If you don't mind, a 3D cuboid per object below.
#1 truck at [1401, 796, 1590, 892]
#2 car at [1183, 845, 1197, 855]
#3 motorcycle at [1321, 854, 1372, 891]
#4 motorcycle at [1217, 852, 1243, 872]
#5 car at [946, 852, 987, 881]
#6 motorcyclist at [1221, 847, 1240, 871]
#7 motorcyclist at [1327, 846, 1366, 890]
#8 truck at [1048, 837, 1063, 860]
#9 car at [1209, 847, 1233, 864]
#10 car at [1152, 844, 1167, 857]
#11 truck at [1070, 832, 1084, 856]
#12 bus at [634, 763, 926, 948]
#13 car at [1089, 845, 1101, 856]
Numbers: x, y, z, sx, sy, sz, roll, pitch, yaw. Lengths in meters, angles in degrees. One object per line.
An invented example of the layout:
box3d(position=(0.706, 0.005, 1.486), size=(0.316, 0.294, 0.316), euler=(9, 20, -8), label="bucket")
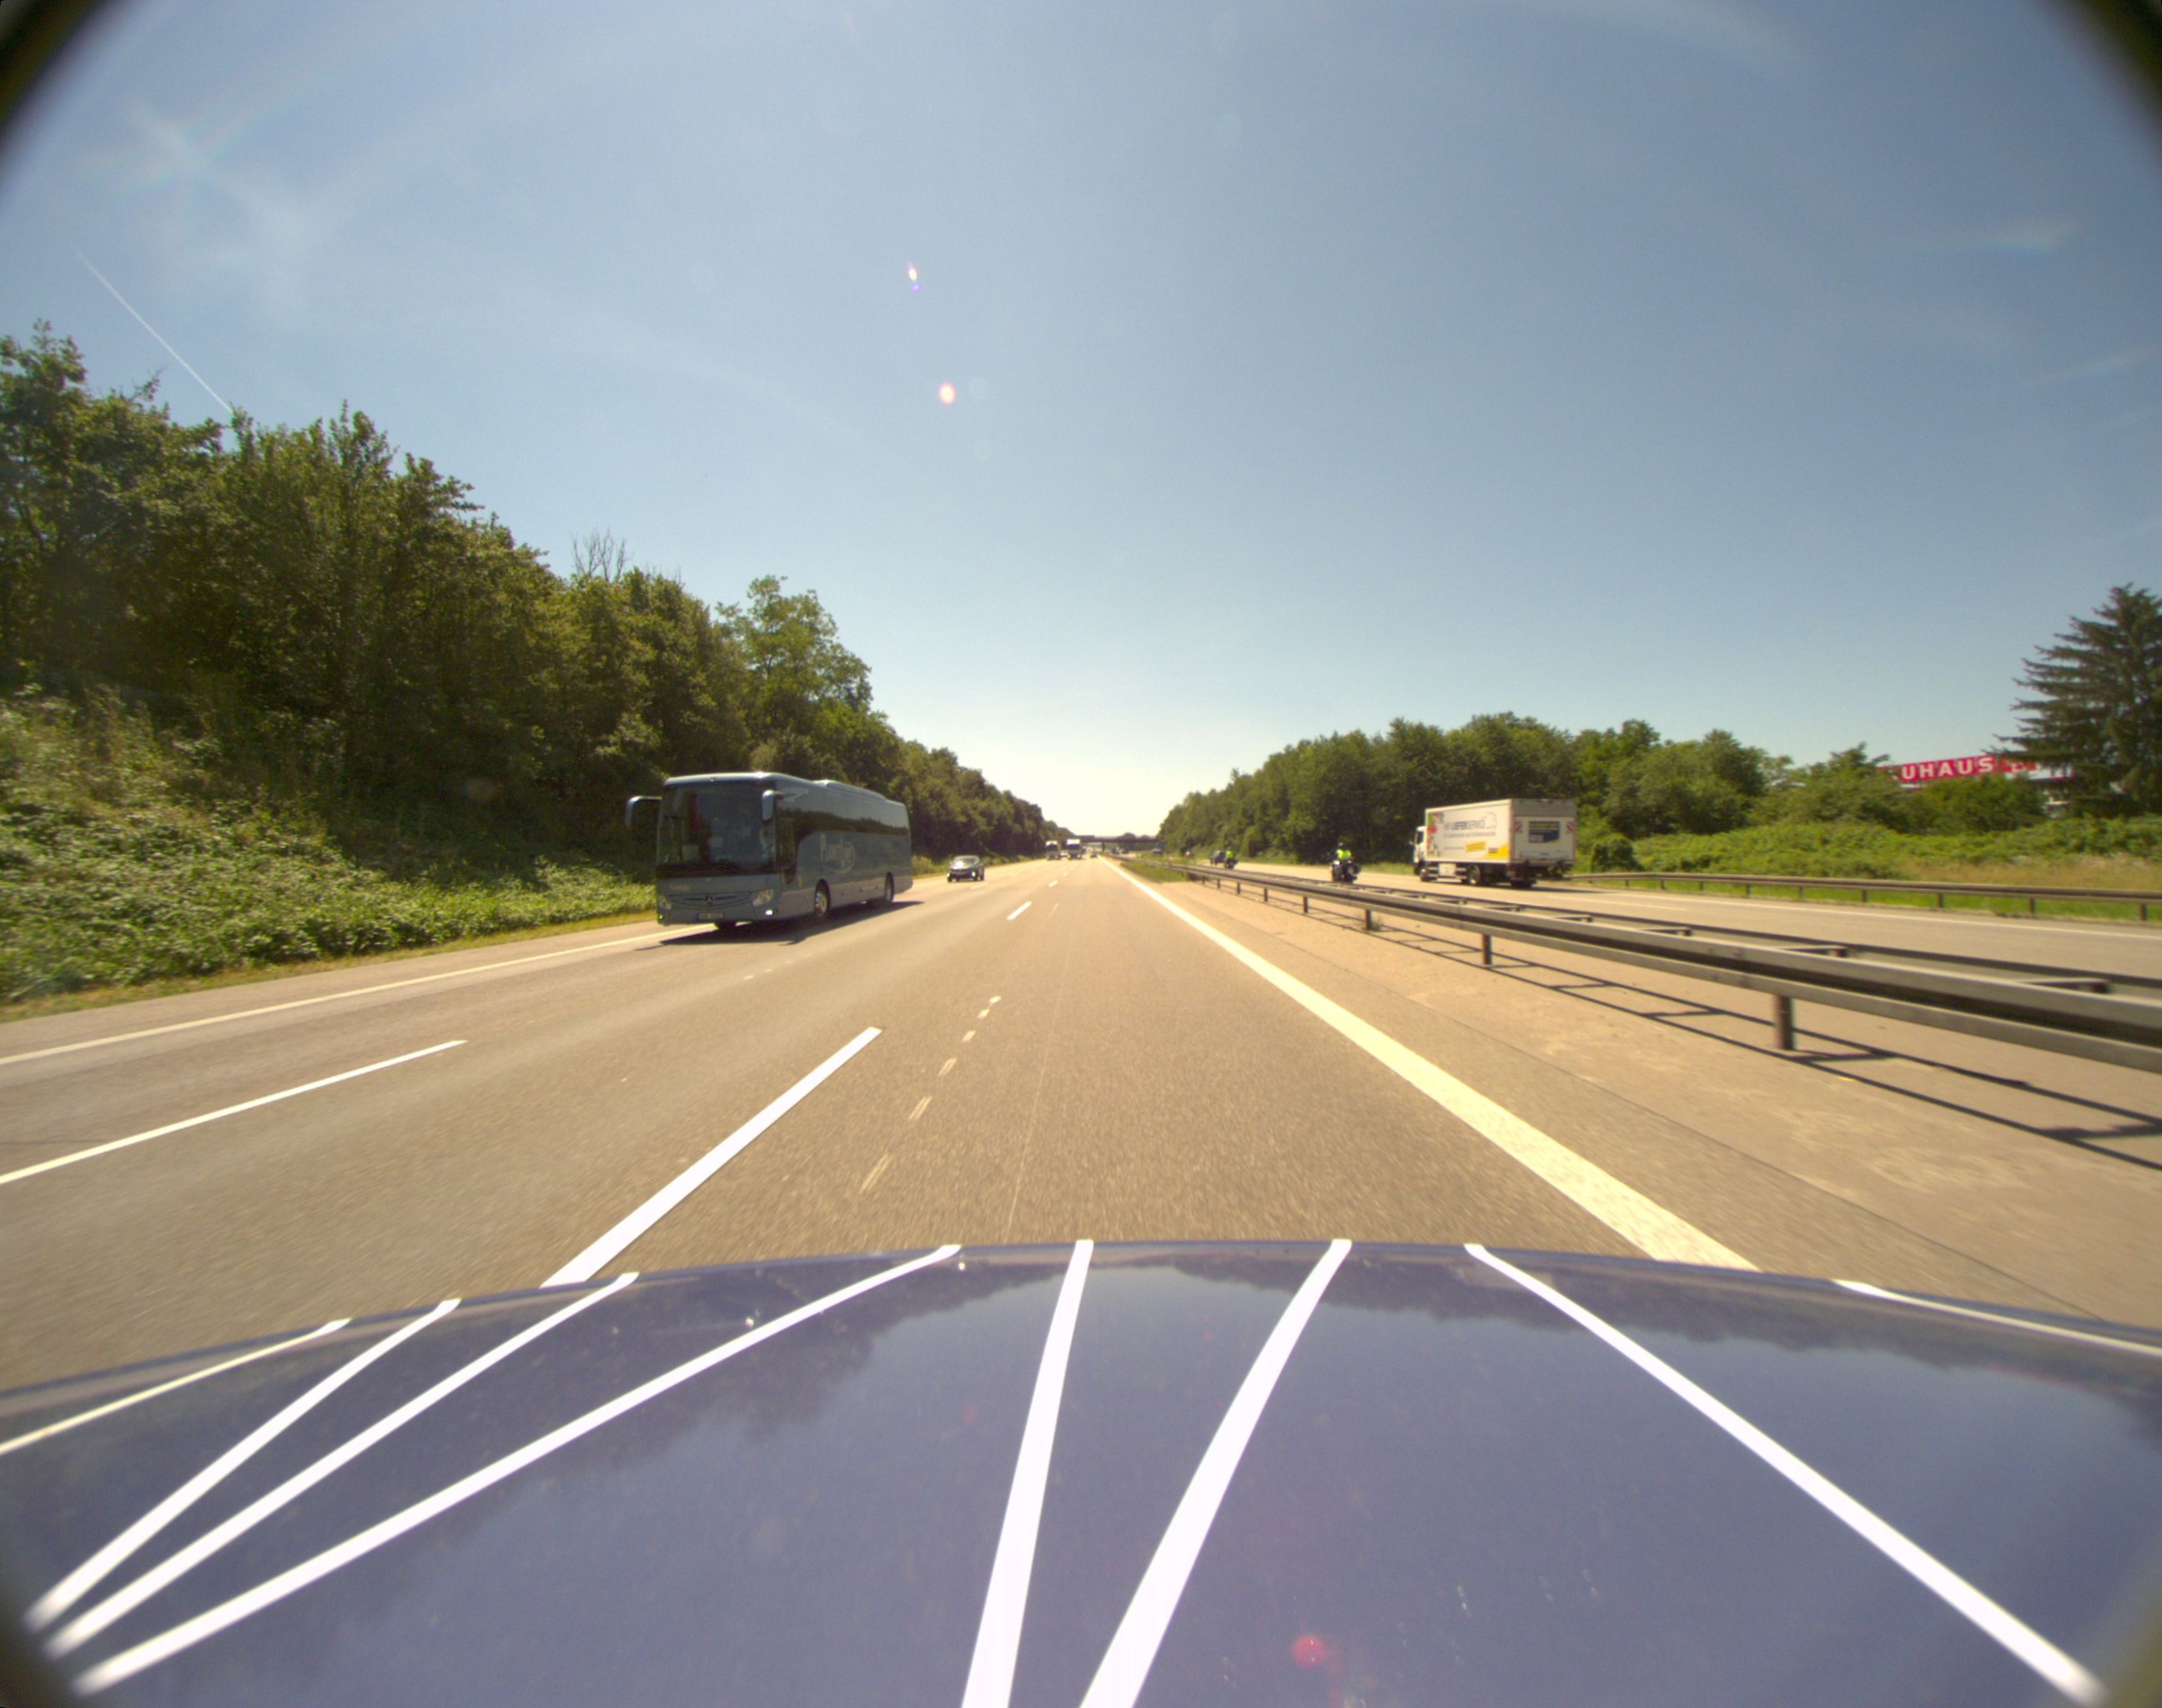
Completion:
box3d(position=(18.246, -0.468, 34.601), size=(3.002, 3.598, 10.269), euler=(-2, 1, 1), label="truck")
box3d(position=(18.821, -0.715, 131.729), size=(1.867, 1.651, 3.999), euler=(-2, 1, 1), label="car")
box3d(position=(9.985, 0.672, 28.715), size=(1.037, 1.260, 2.577), euler=(-2, 1, 1), label="motorcycle")
box3d(position=(10.258, 0.519, 52.332), size=(1.037, 1.231, 3.810), euler=(-2, 1, 1), label="motorcycle")
box3d(position=(-6.956, 0.716, 46.557), size=(1.814, 1.607, 3.999), euler=(-2, 1, 1), label="car")
box3d(position=(10.268, 0.326, 52.356), size=(1.043, 1.590, 1.151), euler=(-2, 1, 1), label="motorcyclist")
box3d(position=(9.986, 0.504, 28.599), size=(1.043, 1.590, 1.151), euler=(-2, 1, 1), label="motorcyclist")
box3d(position=(-5.429, -1.302, 163.007), size=(2.616, 4.638, 10.960), euler=(-2, 1, 1), label="truck")
box3d(position=(15.132, 0.133, 82.165), size=(1.850, 1.663, 4.185), euler=(1, 1, 1), label="car")
box3d(position=(11.635, -0.560, 112.358), size=(1.844, 1.771, 3.512), euler=(-2, 1, 1), label="car")
box3d(position=(-0.745, -2.077, 155.658), size=(2.616, 4.638, 10.960), euler=(-2, 1, 1), label="truck")
box3d(position=(-7.297, -0.063, 21.760), size=(2.617, 3.532, 13.681), euler=(-2, 1, 1), label="bus")
box3d(position=(3.095, -0.745, 172.675), size=(2.616, 2.389, 7.122), euler=(-2, 1, 1), label="car")
